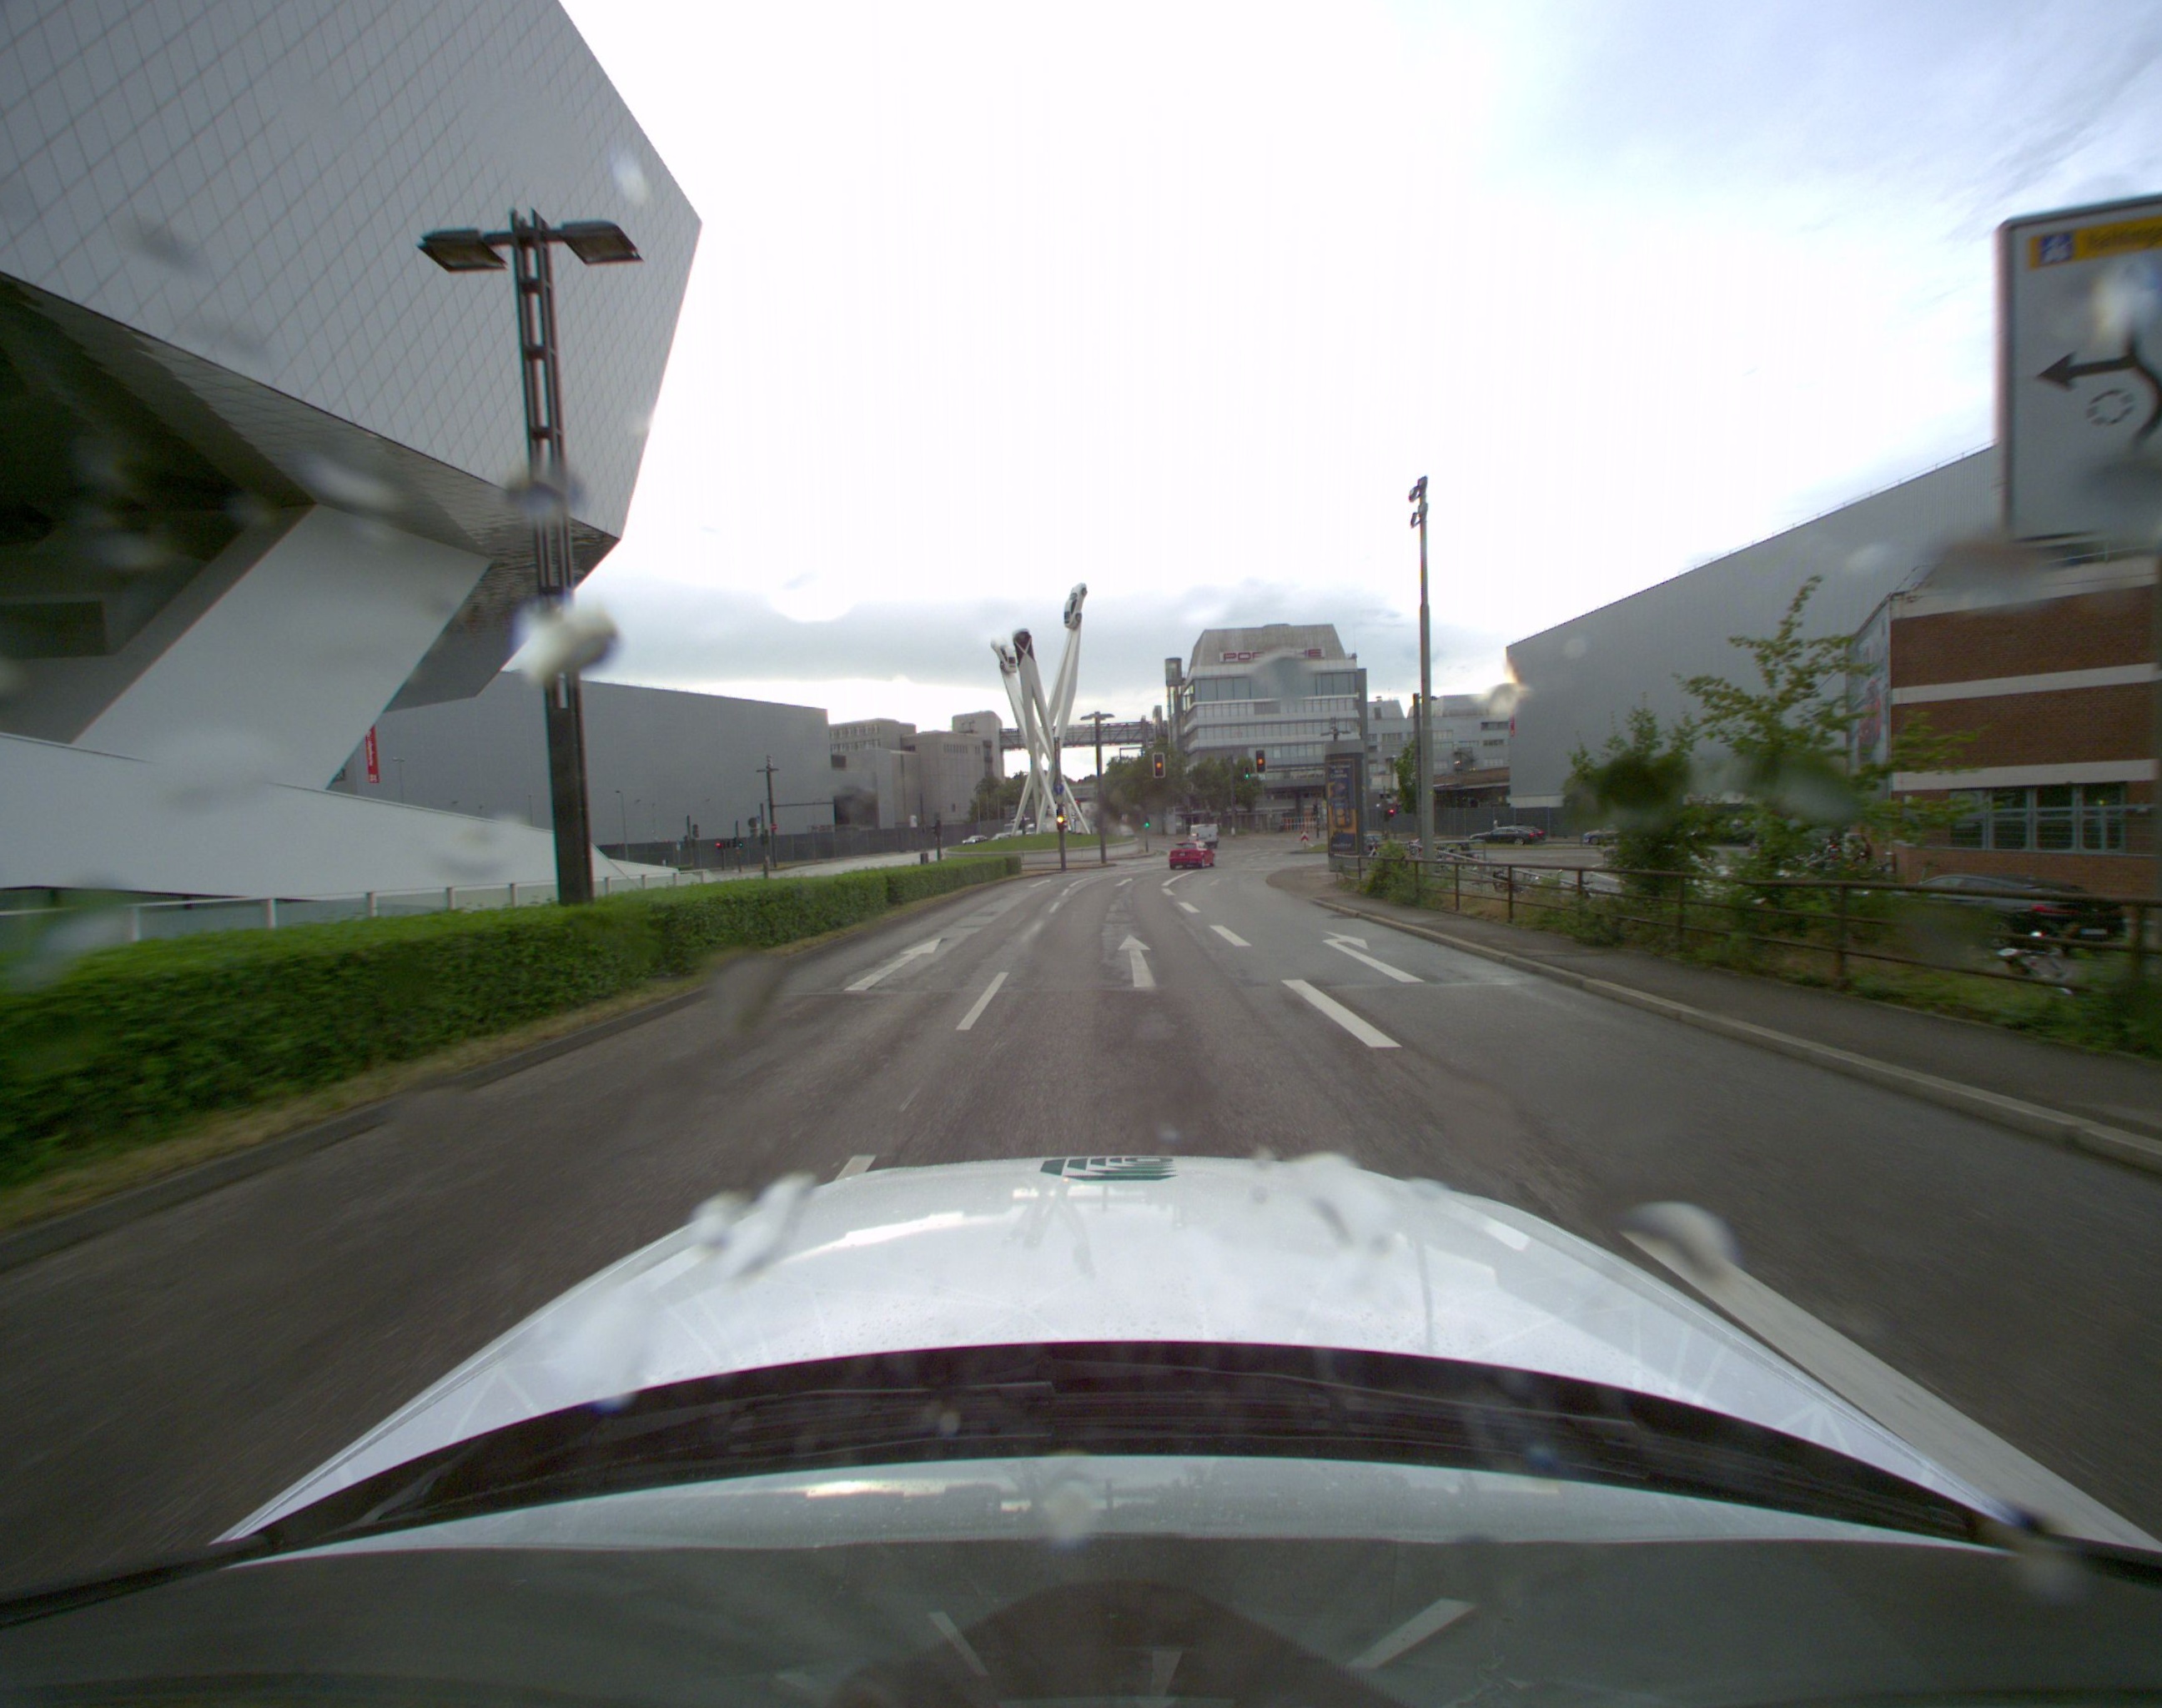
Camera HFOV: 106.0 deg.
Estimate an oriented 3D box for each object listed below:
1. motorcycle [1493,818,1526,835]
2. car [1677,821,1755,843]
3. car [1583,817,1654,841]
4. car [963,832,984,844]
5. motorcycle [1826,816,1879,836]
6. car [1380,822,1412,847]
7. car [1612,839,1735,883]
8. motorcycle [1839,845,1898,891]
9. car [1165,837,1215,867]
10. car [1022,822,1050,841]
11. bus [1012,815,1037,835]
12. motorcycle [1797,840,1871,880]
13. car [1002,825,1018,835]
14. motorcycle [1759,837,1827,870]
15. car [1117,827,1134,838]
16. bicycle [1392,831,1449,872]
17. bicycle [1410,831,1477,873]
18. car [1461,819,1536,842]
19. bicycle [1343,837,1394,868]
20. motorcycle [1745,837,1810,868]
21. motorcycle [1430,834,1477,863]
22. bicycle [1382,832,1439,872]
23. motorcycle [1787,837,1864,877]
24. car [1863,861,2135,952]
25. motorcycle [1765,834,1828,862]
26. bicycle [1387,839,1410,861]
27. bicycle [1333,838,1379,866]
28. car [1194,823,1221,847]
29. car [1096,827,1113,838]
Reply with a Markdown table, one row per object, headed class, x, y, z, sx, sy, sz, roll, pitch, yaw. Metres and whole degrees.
| class | x | y | z | sx | sy | sz | roll | pitch | yaw |
| --- | --- | --- | --- | --- | --- | --- | --- | --- | --- |
| motorcycle | 35.230 | -2.242 | 66.971 | 2.330 | 1.344 | 0.657 | -1 | 2 | 42 |
| car | 41.917 | -1.448 | 53.784 | 3.950 | 1.392 | 1.768 | 1 | 4 | 43 |
| car | 38.019 | -1.776 | 57.637 | 3.931 | 1.601 | 1.923 | 1 | 3 | 43 |
| car | -14.282 | -2.156 | 108.603 | 1.825 | 1.472 | 4.518 | -2 | 1 | 3 |
| motorcycle | 51.093 | -1.848 | 53.978 | 2.461 | 1.186 | 1.006 | -1 | 2 | 38 |
| car | 18.140 | -1.123 | 46.818 | 1.596 | 1.291 | 3.586 | -2 | 0 | 22 |
| car | 23.339 | 0.275 | 32.196 | 3.525 | 1.481 | 1.700 | -2 | 3 | 13 |
| motorcycle | 26.048 | 0.444 | 26.977 | 0.917 | 1.309 | 1.998 | -4 | 3 | 30 |
| car | 5.748 | -0.130 | 42.631 | 1.757 | 1.464 | 3.752 | -2 | 0 | 20 |
| car | -6.134 | -3.064 | 112.063 | 1.978 | 2.447 | 5.450 | -2 | 1 | 16 |
| bus | -10.015 | -5.102 | 144.621 | 2.657 | 3.200 | 12.683 | -2 | 1 | 4 |
| motorcycle | 27.064 | 0.216 | 29.291 | 1.850 | 1.309 | 0.576 | -4 | 2 | 19 |
| car | -11.196 | -3.786 | 128.561 | 1.825 | 1.472 | 4.518 | -2 | 1 | 3 |
| motorcycle | 29.014 | -0.026 | 33.224 | 1.996 | 1.190 | 0.614 | -4 | 2 | 33 |
| car | 5.983 | -2.930 | 109.428 | 1.665 | 1.301 | 3.878 | -2 | 0 | -6 |
| bicycle | 11.013 | -0.078 | 26.375 | 1.938 | 1.224 | 0.594 | -3 | 1 | -29 |
| bicycle | 11.348 | -0.069 | 25.520 | 1.929 | 1.178 | 0.596 | -3 | 0 | -15 |
| car | 30.139 | -1.674 | 58.913 | 4.527 | 1.539 | 1.768 | 1 | 4 | 43 |
| bicycle | 11.545 | -0.057 | 32.748 | 1.792 | 1.161 | 0.593 | -3 | 0 | 4 |
| motorcycle | 29.261 | -0.058 | 34.235 | 1.997 | 1.190 | 0.613 | -3 | 3 | 43 |
| motorcycle | 19.664 | -0.288 | 43.000 | 2.208 | 1.452 | 0.761 | -1 | 1 | 24 |
| bicycle | 10.962 | -0.085 | 27.094 | 1.937 | 1.224 | 0.594 | -3 | 1 | -27 |
| motorcycle | 27.801 | 0.120 | 30.447 | 2.001 | 1.309 | 0.691 | -4 | 2 | 15 |
| car | 21.478 | 1.133 | 19.377 | 1.692 | 1.609 | 4.266 | 0 | 4 | 1 |
| motorcycle | 32.057 | -0.256 | 36.521 | 0.610 | 1.190 | 2.008 | -6 | 2 | -22 |
| bicycle | 17.014 | -0.242 | 43.593 | 1.761 | 1.097 | 0.381 | -3 | 1 | -44 |
| bicycle | 11.947 | -0.072 | 35.450 | 1.759 | 1.140 | 0.680 | -2 | 0 | 8 |
| car | 11.905 | -1.774 | 76.804 | 2.221 | 2.107 | 4.962 | -2 | 0 | 6 |
| car | 3.140 | -2.900 | 109.368 | 1.556 | 1.288 | 3.403 | -2 | 0 | -9 |
